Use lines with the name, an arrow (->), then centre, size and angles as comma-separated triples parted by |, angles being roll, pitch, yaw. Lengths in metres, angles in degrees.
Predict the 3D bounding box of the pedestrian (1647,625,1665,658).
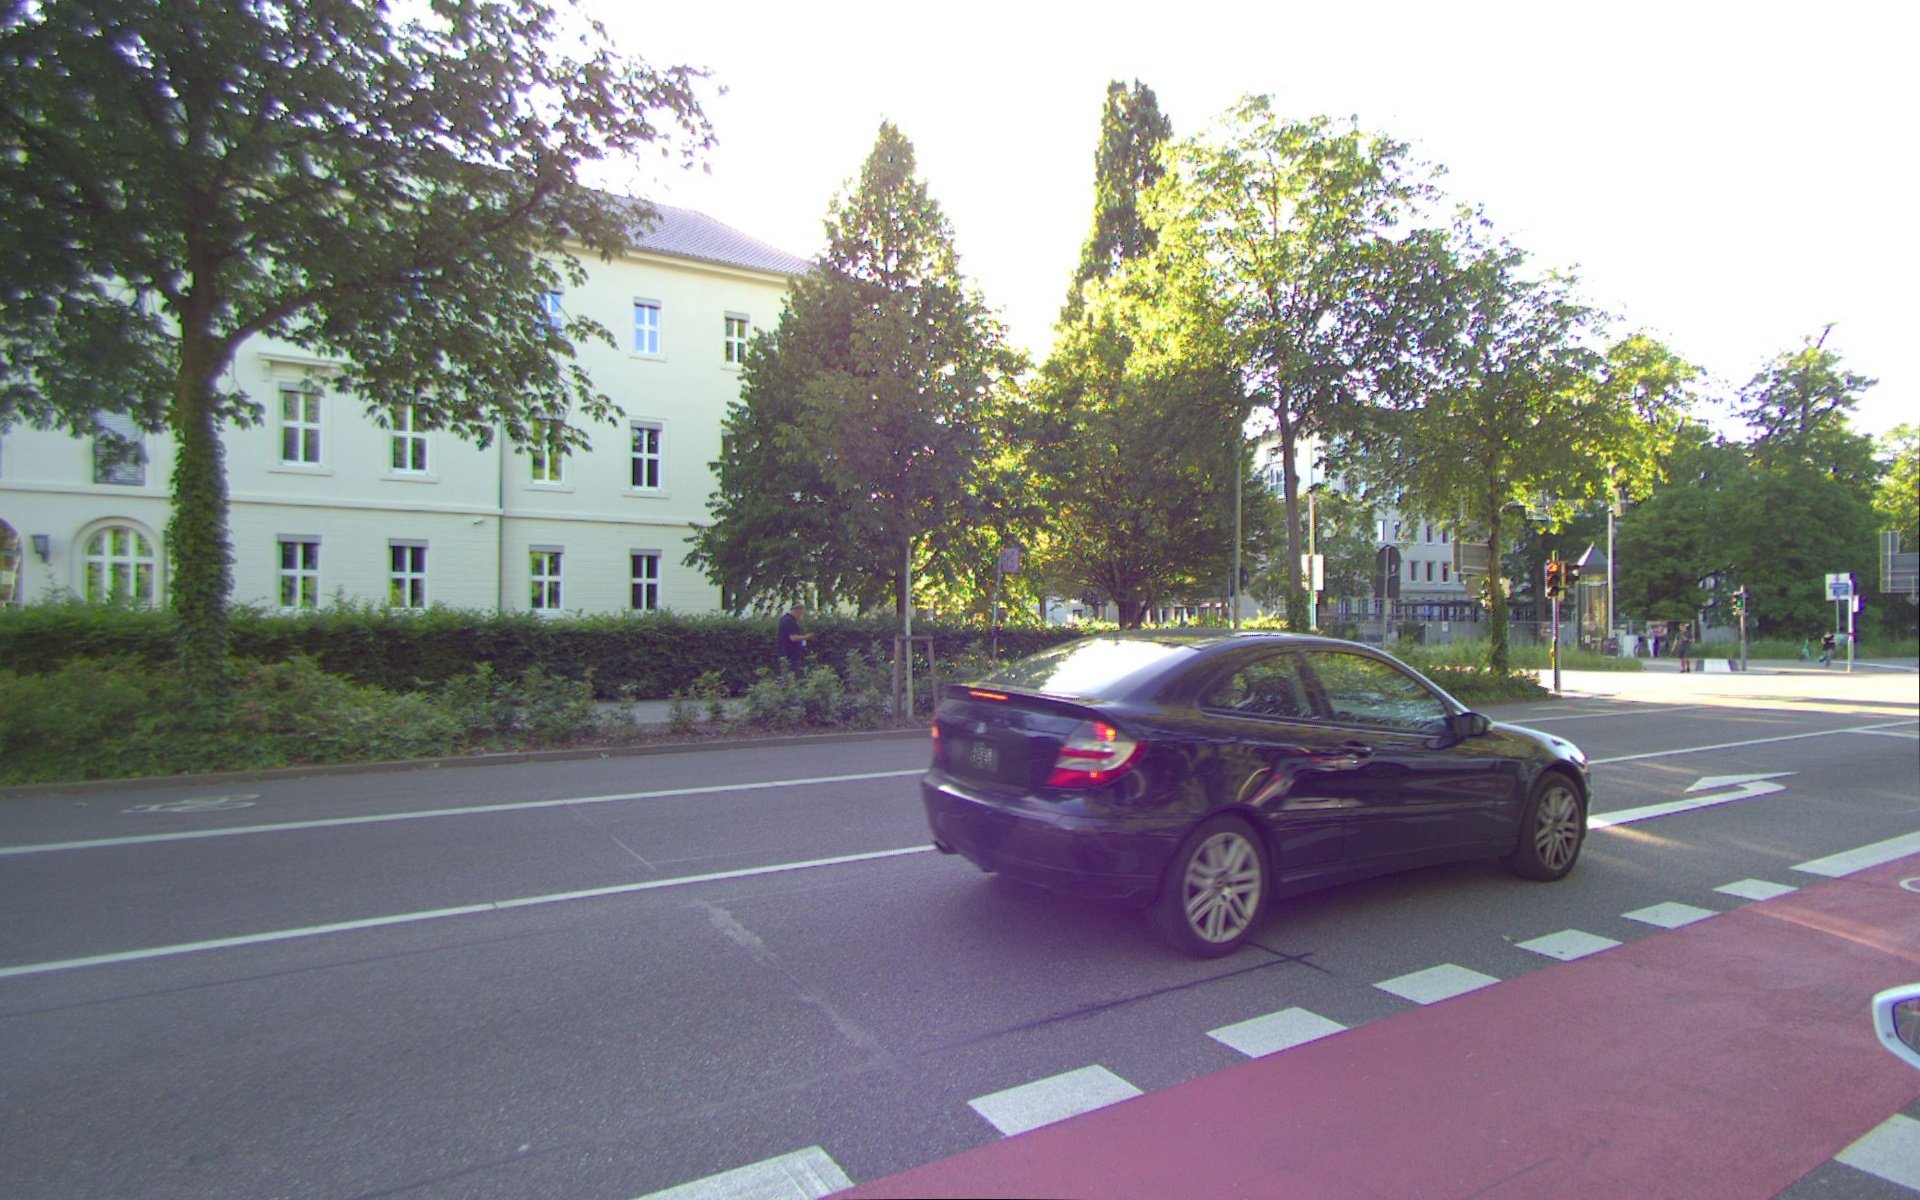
pedestrian -> 34.727, 2.065, 50.135 | 0.442, 1.601, 0.624 | 1, 0, -39

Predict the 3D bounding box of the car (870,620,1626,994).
car -> 1.750, 0.844, 5.659 | 4.215, 1.423, 1.696 | 1, -2, -31

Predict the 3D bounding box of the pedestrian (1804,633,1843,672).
pedestrian -> 37.343, 2.255, 43.447 | 0.992, 1.624, 1.080 | 1, -2, -36

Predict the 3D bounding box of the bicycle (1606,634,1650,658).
bicycle -> 34.353, 2.337, 51.647 | 0.438, 1.163, 1.849 | 1, -1, -36

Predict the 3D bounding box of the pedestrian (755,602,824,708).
pedestrian -> -2.908, 0.916, 17.119 | 0.956, 1.743, 0.831 | 1, -2, -28

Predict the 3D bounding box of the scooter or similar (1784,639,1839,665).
scooter or similar -> 39.464, 2.401, 46.566 | 1.882, 1.139, 0.713 | 1, 0, 3

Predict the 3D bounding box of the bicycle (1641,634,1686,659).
bicycle -> 34.918, 2.317, 49.883 | 0.288, 1.163, 1.849 | 1, -1, -36

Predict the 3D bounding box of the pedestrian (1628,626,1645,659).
pedestrian -> 34.345, 2.140, 50.995 | 0.442, 1.664, 0.624 | 1, 0, -39

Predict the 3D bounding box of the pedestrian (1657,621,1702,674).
pedestrian -> 28.343, 1.848, 39.579 | 1.175, 2.040, 0.992 | 1, 0, -25
